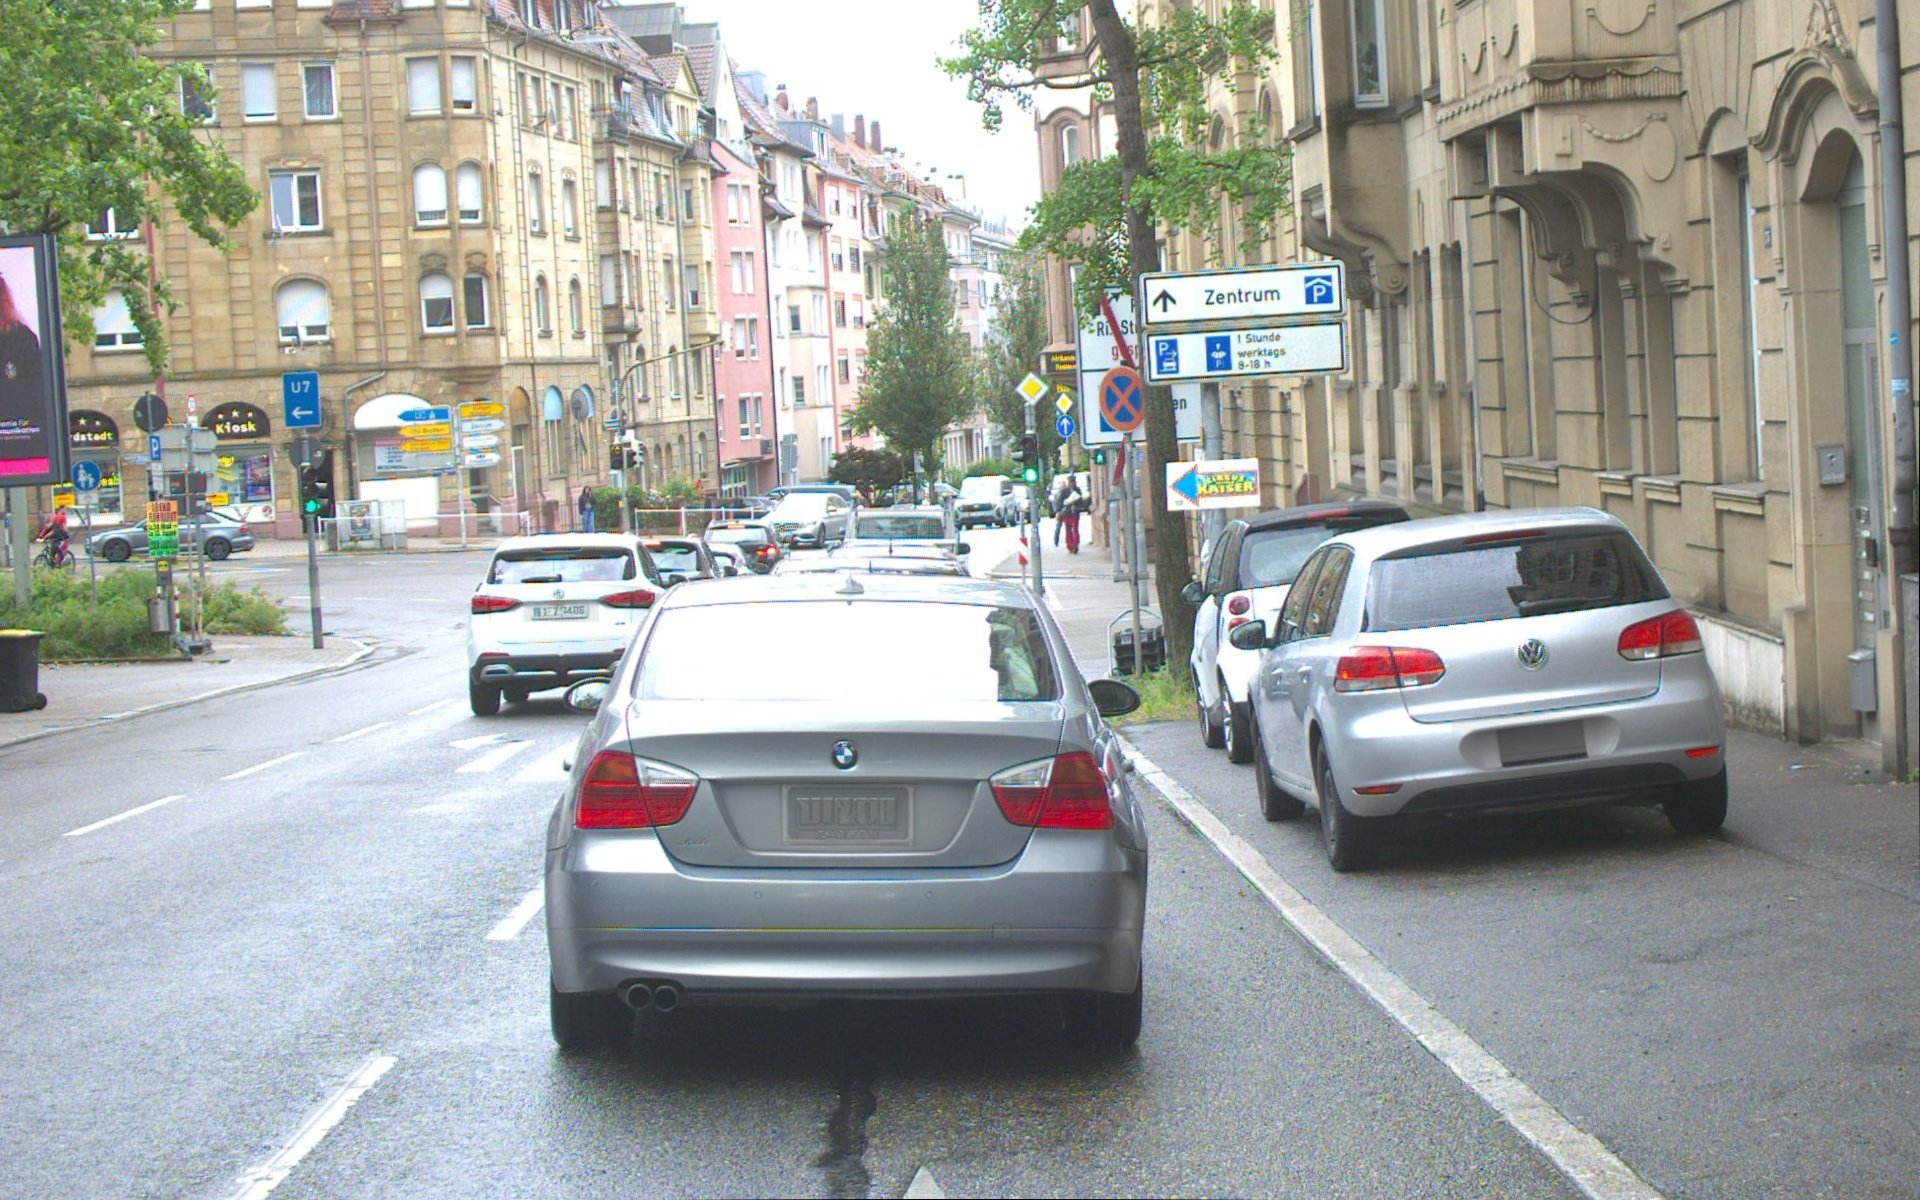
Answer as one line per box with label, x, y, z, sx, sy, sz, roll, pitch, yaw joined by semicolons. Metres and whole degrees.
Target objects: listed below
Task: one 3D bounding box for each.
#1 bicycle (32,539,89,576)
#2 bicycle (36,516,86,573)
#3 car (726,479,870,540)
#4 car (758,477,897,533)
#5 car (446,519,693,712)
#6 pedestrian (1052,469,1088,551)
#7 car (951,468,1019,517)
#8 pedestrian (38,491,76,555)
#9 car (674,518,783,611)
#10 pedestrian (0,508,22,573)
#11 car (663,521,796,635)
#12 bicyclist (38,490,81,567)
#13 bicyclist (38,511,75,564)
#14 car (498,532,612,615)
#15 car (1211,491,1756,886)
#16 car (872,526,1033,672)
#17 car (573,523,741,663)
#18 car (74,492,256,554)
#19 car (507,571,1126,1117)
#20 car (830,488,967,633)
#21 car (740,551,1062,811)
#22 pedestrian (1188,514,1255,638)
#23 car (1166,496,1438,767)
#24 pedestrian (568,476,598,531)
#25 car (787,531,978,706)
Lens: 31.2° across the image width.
bicycle;-21.736;-1.022;83.083;0.574;0.855;1.520;1;0;19
bicycle;-21.763;-1.349;83.264;0.671;1.315;2.276;-3;1;-4
car;-4.392;-2.460;93.897;1.997;1.573;3.993;1;0;32
car;-4.971;-3.573;129.795;5.176;2.007;2.699;1;0;-1
car;-3.616;0.091;32.485;1.868;1.620;4.000;-3;1;-1
pedestrian;2.587;-2.119;81.026;0.742;1.903;0.659;-2;1;-1
car;0.864;-3.690;118.227;1.994;1.573;3.999;1;0;5
pedestrian;-22.429;-1.920;85.416;0.537;1.572;0.719;-2;1;23
car;-4.392;-0.710;65.760;1.759;1.702;4.000;-1;1;1
pedestrian;-23.928;-1.499;86.357;0.589;1.628;0.390;1;0;-1
car;-3.580;-0.372;54.004;1.759;1.702;4.000;-1;1;1
bicyclist;-21.758;-1.736;83.075;0.782;1.814;0.771;-3;1;-5
bicyclist;-21.795;-1.509;82.934;0.569;1.268;0.689;1;0;20
car;-7.524;-0.519;64.167;1.715;1.445;3.742;-2;1;-1
car;2.310;0.325;16.193;1.759;1.446;4.000;-6;1;-1
car;-0.134;-0.058;39.961;1.759;1.562;4.001;-1;2;-1
car;-3.867;-0.135;44.417;1.759;1.702;4.000;-1;1;1
car;-21.247;-2.046;92.057;4.638;1.573;2.001;1;0;-10
car;-0.363;0.634;10.927;1.623;1.378;3.615;-1;1;1
car;-0.923;-0.603;52.173;1.993;2.099;4.000;0;1;-1
car;-0.308;0.418;20.974;1.759;1.378;4.000;-1;1;1
pedestrian;3.302;-0.305;43.387;0.631;1.503;0.693;-6;1;-1
car;2.196;0.164;22.644;1.299;1.537;2.976;-6;1;-1
pedestrian;-11.040;-2.835;100.715;0.732;1.572;0.528;-2;1;8
car;-0.658;0.123;31.616;1.595;1.459;4.000;1;1;1
